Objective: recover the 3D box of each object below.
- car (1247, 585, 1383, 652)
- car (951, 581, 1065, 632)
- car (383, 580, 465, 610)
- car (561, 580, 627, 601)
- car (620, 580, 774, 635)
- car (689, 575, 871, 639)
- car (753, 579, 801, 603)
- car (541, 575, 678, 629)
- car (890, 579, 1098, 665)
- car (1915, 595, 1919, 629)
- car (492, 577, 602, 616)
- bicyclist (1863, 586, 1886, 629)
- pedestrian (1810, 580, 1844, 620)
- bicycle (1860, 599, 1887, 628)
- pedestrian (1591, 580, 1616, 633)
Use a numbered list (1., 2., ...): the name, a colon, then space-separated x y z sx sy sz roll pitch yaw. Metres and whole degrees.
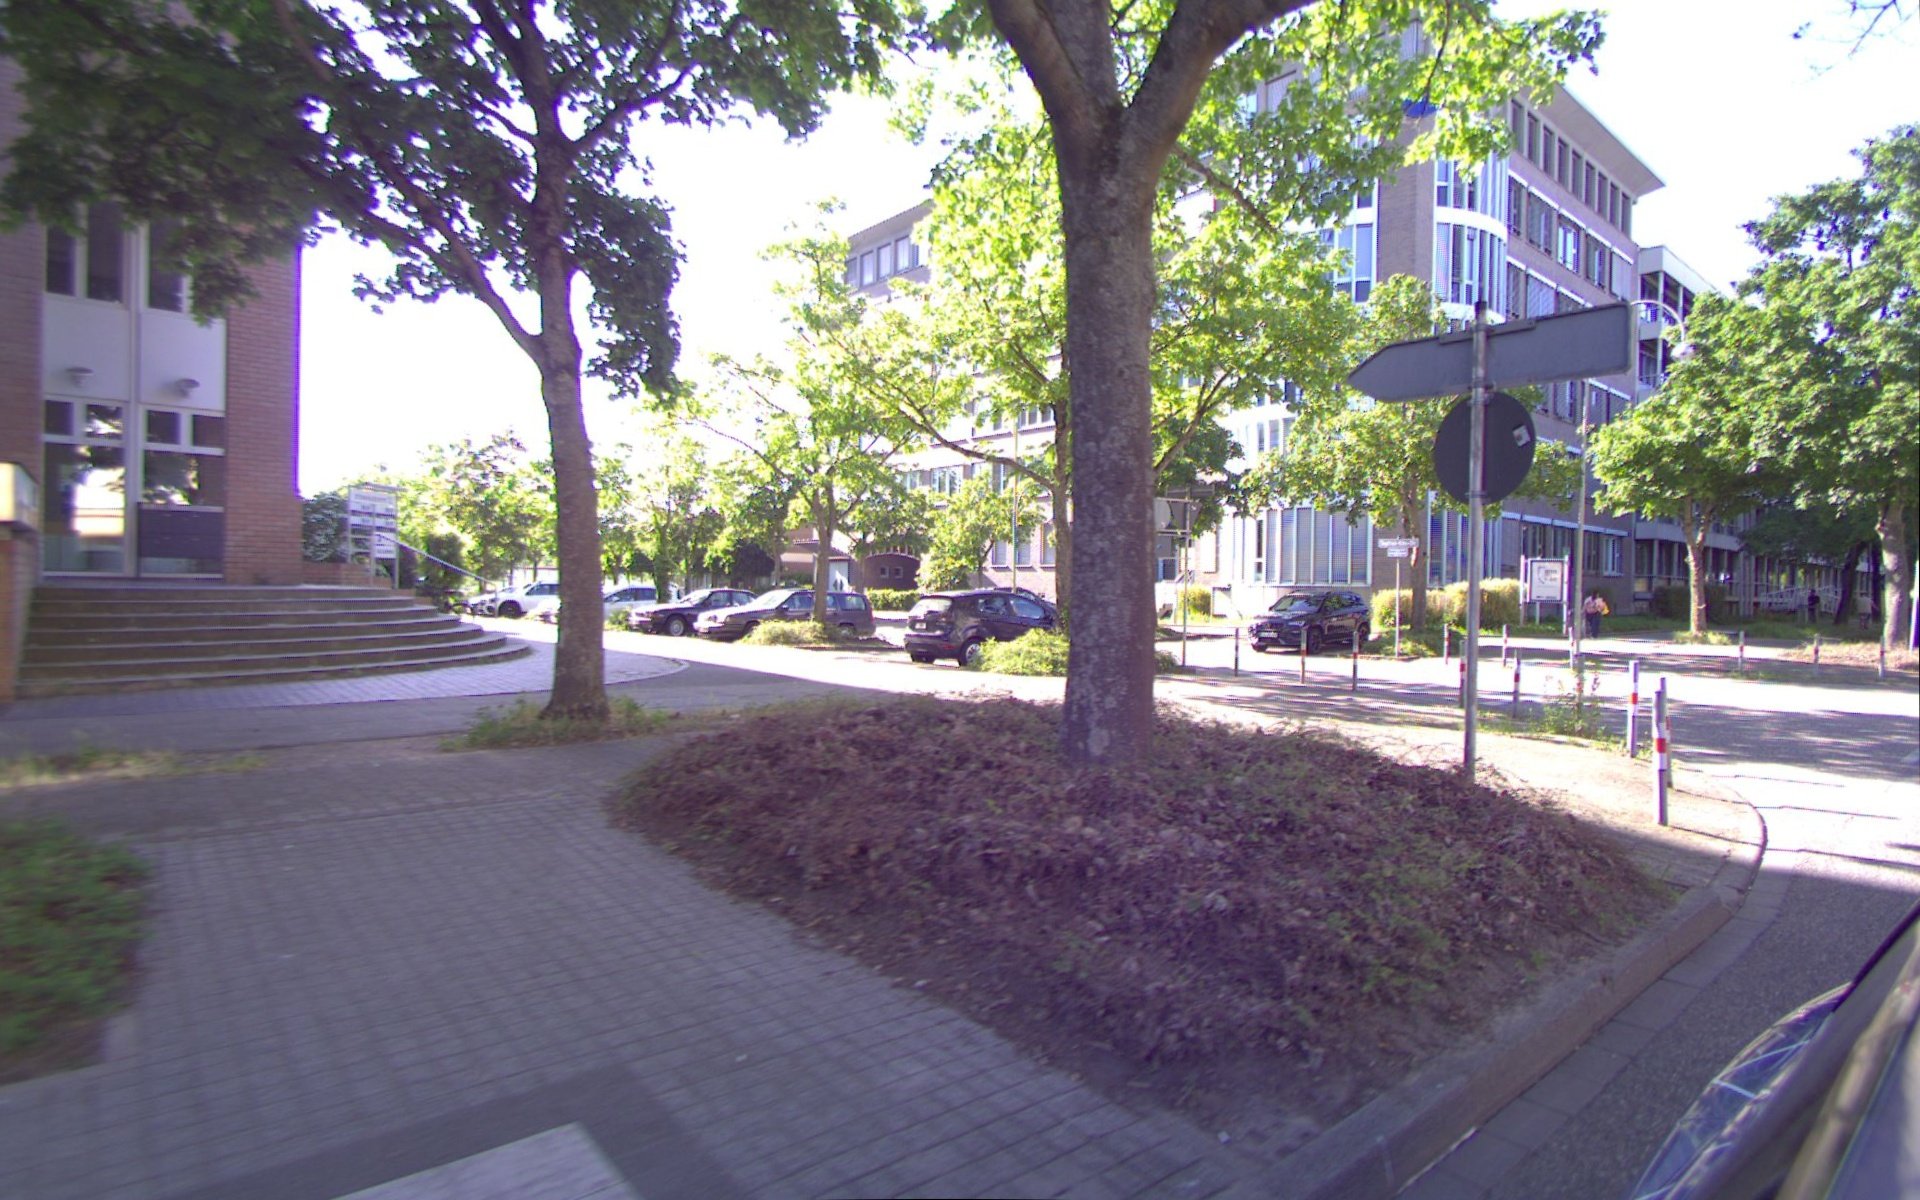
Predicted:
1. car: 9.703 0.428 27.499 4.294 1.585 1.739 -3 2 -43
2. car: 1.793 0.190 37.026 3.925 1.604 1.705 -3 2 -35
3. car: -30.400 -0.284 57.456 3.840 1.521 1.534 3 -1 -41
4. car: -24.235 -0.609 67.087 3.845 1.331 1.533 0 1 -44
5. car: -7.428 0.259 28.838 3.933 1.386 1.623 3 -3 -44
6. car: -4.477 0.154 25.469 4.193 1.479 1.694 0 1 -38
7. car: -11.650 -0.595 64.230 1.507 1.462 3.909 -1 2 -35
8. car: -11.619 0.080 33.649 3.929 1.584 1.625 3 -1 -41
9. car: 0.720 0.393 19.304 3.848 1.481 1.655 1 0 -40
10. car: 41.511 0.607 40.889 1.627 1.387 4.121 0 3 -43
11. car: -16.666 -0.138 40.949 3.841 1.521 1.534 1 1 -41
12. bicyclist: 36.031 0.291 39.857 0.808 1.657 0.538 1 0 -40
13. pedestrian: 40.034 -0.017 46.743 1.001 1.821 1.036 0 -1 -41
14. bicycle: 35.878 0.516 39.734 1.885 1.092 0.535 1 1 -40
15. pedestrian: 19.913 0.205 31.309 0.537 1.602 0.639 1 0 40
